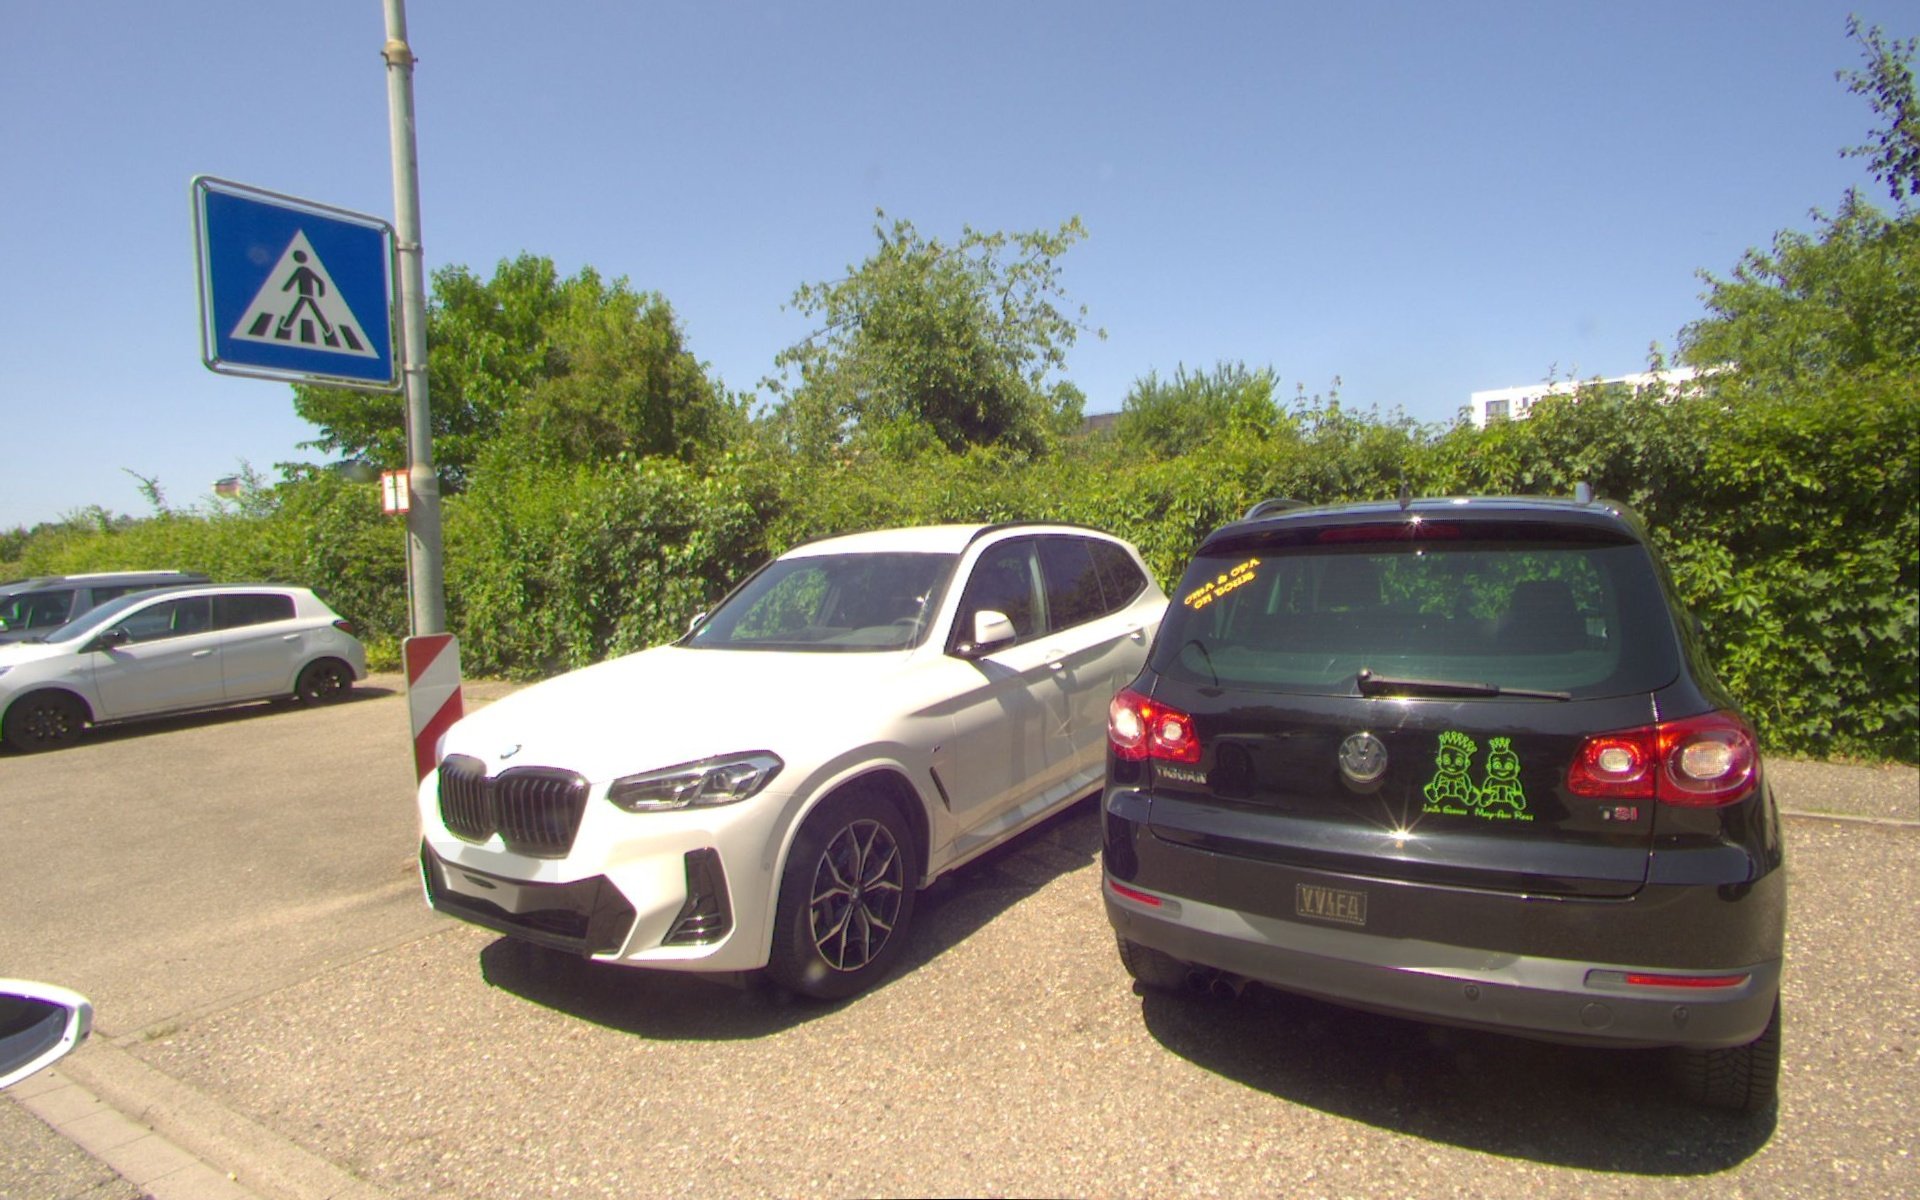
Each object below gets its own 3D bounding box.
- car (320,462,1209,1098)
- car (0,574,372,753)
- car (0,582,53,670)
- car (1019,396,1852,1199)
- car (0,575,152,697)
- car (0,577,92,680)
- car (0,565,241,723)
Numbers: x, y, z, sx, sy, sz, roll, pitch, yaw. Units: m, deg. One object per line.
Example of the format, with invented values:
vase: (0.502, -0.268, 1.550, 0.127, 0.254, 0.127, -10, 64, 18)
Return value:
car: (-0.373, 0.405, 5.102, 1.825, 1.753, 4.440, -1, 3, 33)
car: (-8.773, 0.569, 10.915, 1.588, 1.471, 3.673, 1, 5, 36)
car: (-18.265, 0.524, 17.413, 1.566, 1.525, 3.374, 1, 4, 36)
car: (1.955, 0.384, 4.035, 1.741, 1.709, 3.962, 0, 3, 32)
car: (-13.673, 0.536, 13.863, 1.515, 1.549, 3.446, 0, 5, 28)
car: (-16.153, 0.552, 15.231, 1.835, 1.545, 3.955, 0, 5, 27)
car: (-11.373, 0.523, 12.095, 1.637, 1.664, 3.953, 0, 5, 27)
